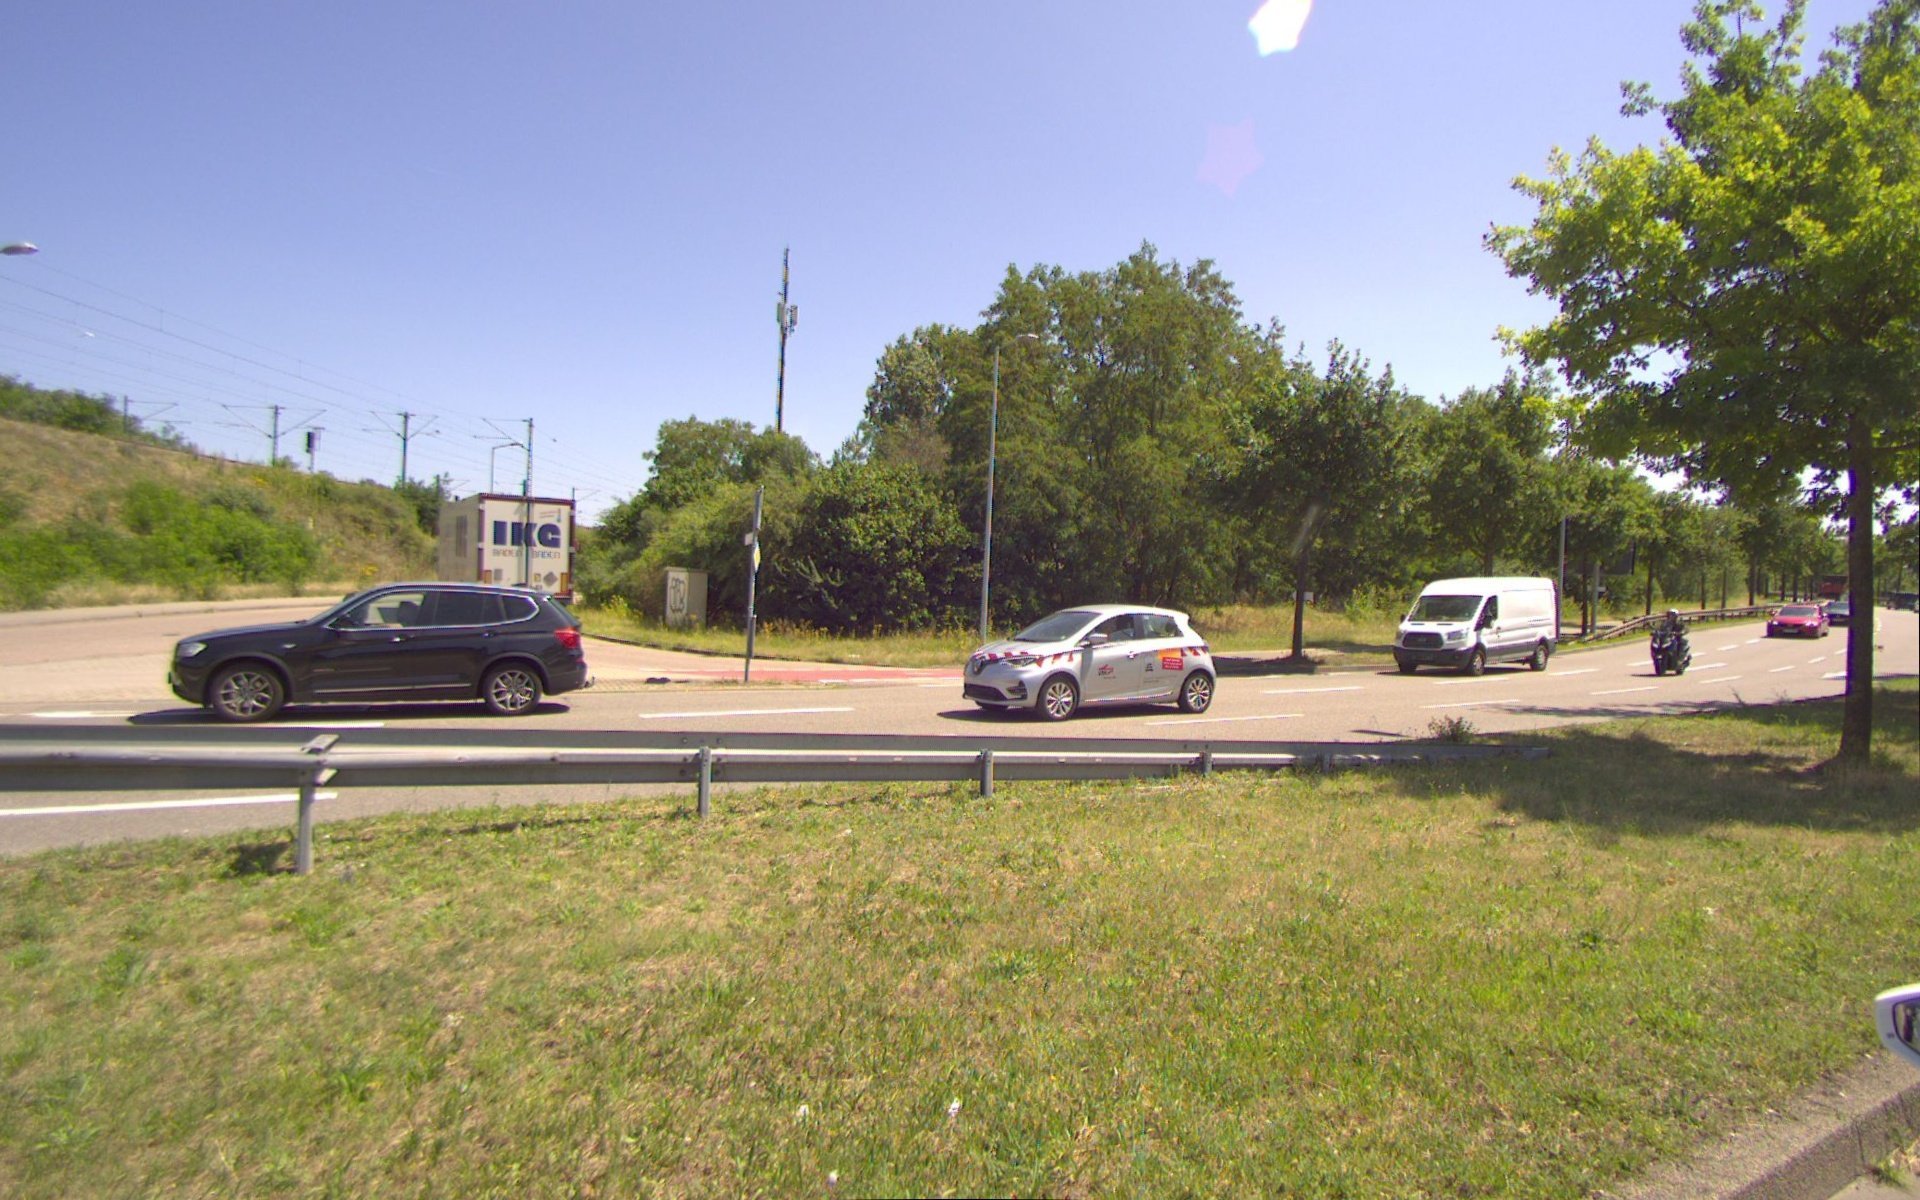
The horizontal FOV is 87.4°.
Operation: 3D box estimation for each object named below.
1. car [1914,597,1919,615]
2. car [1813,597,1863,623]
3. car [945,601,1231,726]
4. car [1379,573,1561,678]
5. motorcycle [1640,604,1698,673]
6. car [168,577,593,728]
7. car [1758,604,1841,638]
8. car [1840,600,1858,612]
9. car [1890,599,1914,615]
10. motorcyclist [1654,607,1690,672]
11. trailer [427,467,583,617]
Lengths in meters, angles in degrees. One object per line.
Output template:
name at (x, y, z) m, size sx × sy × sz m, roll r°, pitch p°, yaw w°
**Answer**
car at (75.880, 0.512, 78.722) m, size 1.440 × 1.331 × 3.619 m, roll 2°, pitch 0°, yaw 41°
car at (50.054, 0.577, 57.217) m, size 4.539 × 1.351 × 1.791 m, roll 2°, pitch 0°, yaw -44°
car at (1.917, 0.845, 14.587) m, size 4.028 × 1.588 × 1.625 m, roll 1°, pitch -1°, yaw -32°
car at (13.679, 0.604, 26.779) m, size 5.756 × 2.534 × 2.079 m, roll 0°, pitch 0°, yaw -38°
motorcycle at (18.200, 0.984, 25.759) m, size 2.405 × 1.700 × 0.592 m, roll 2°, pitch 0°, yaw -40°
car at (-7.085, 0.600, 12.740) m, size 4.416 × 1.655 × 1.483 m, roll 1°, pitch 1°, yaw -28°
car at (38.460, 0.984, 45.970) m, size 4.481 × 1.456 × 1.819 m, roll 2°, pitch -2°, yaw -35°
car at (95.021, 0.614, 107.358) m, size 1.306 × 1.154 × 2.981 m, roll 2°, pitch 0°, yaw 40°
car at (83.045, 0.608, 88.557) m, size 1.401 × 1.331 × 3.320 m, roll 2°, pitch 0°, yaw 41°
motorcyclist at (18.340, 1.010, 25.889) m, size 0.558 × 1.648 × 0.582 m, roll 2°, pitch 0°, yaw -38°
trailer at (-15.566, -1.620, 33.590) m, size 2.989 × 4.104 × 12.589 m, roll 0°, pitch 0°, yaw -33°
